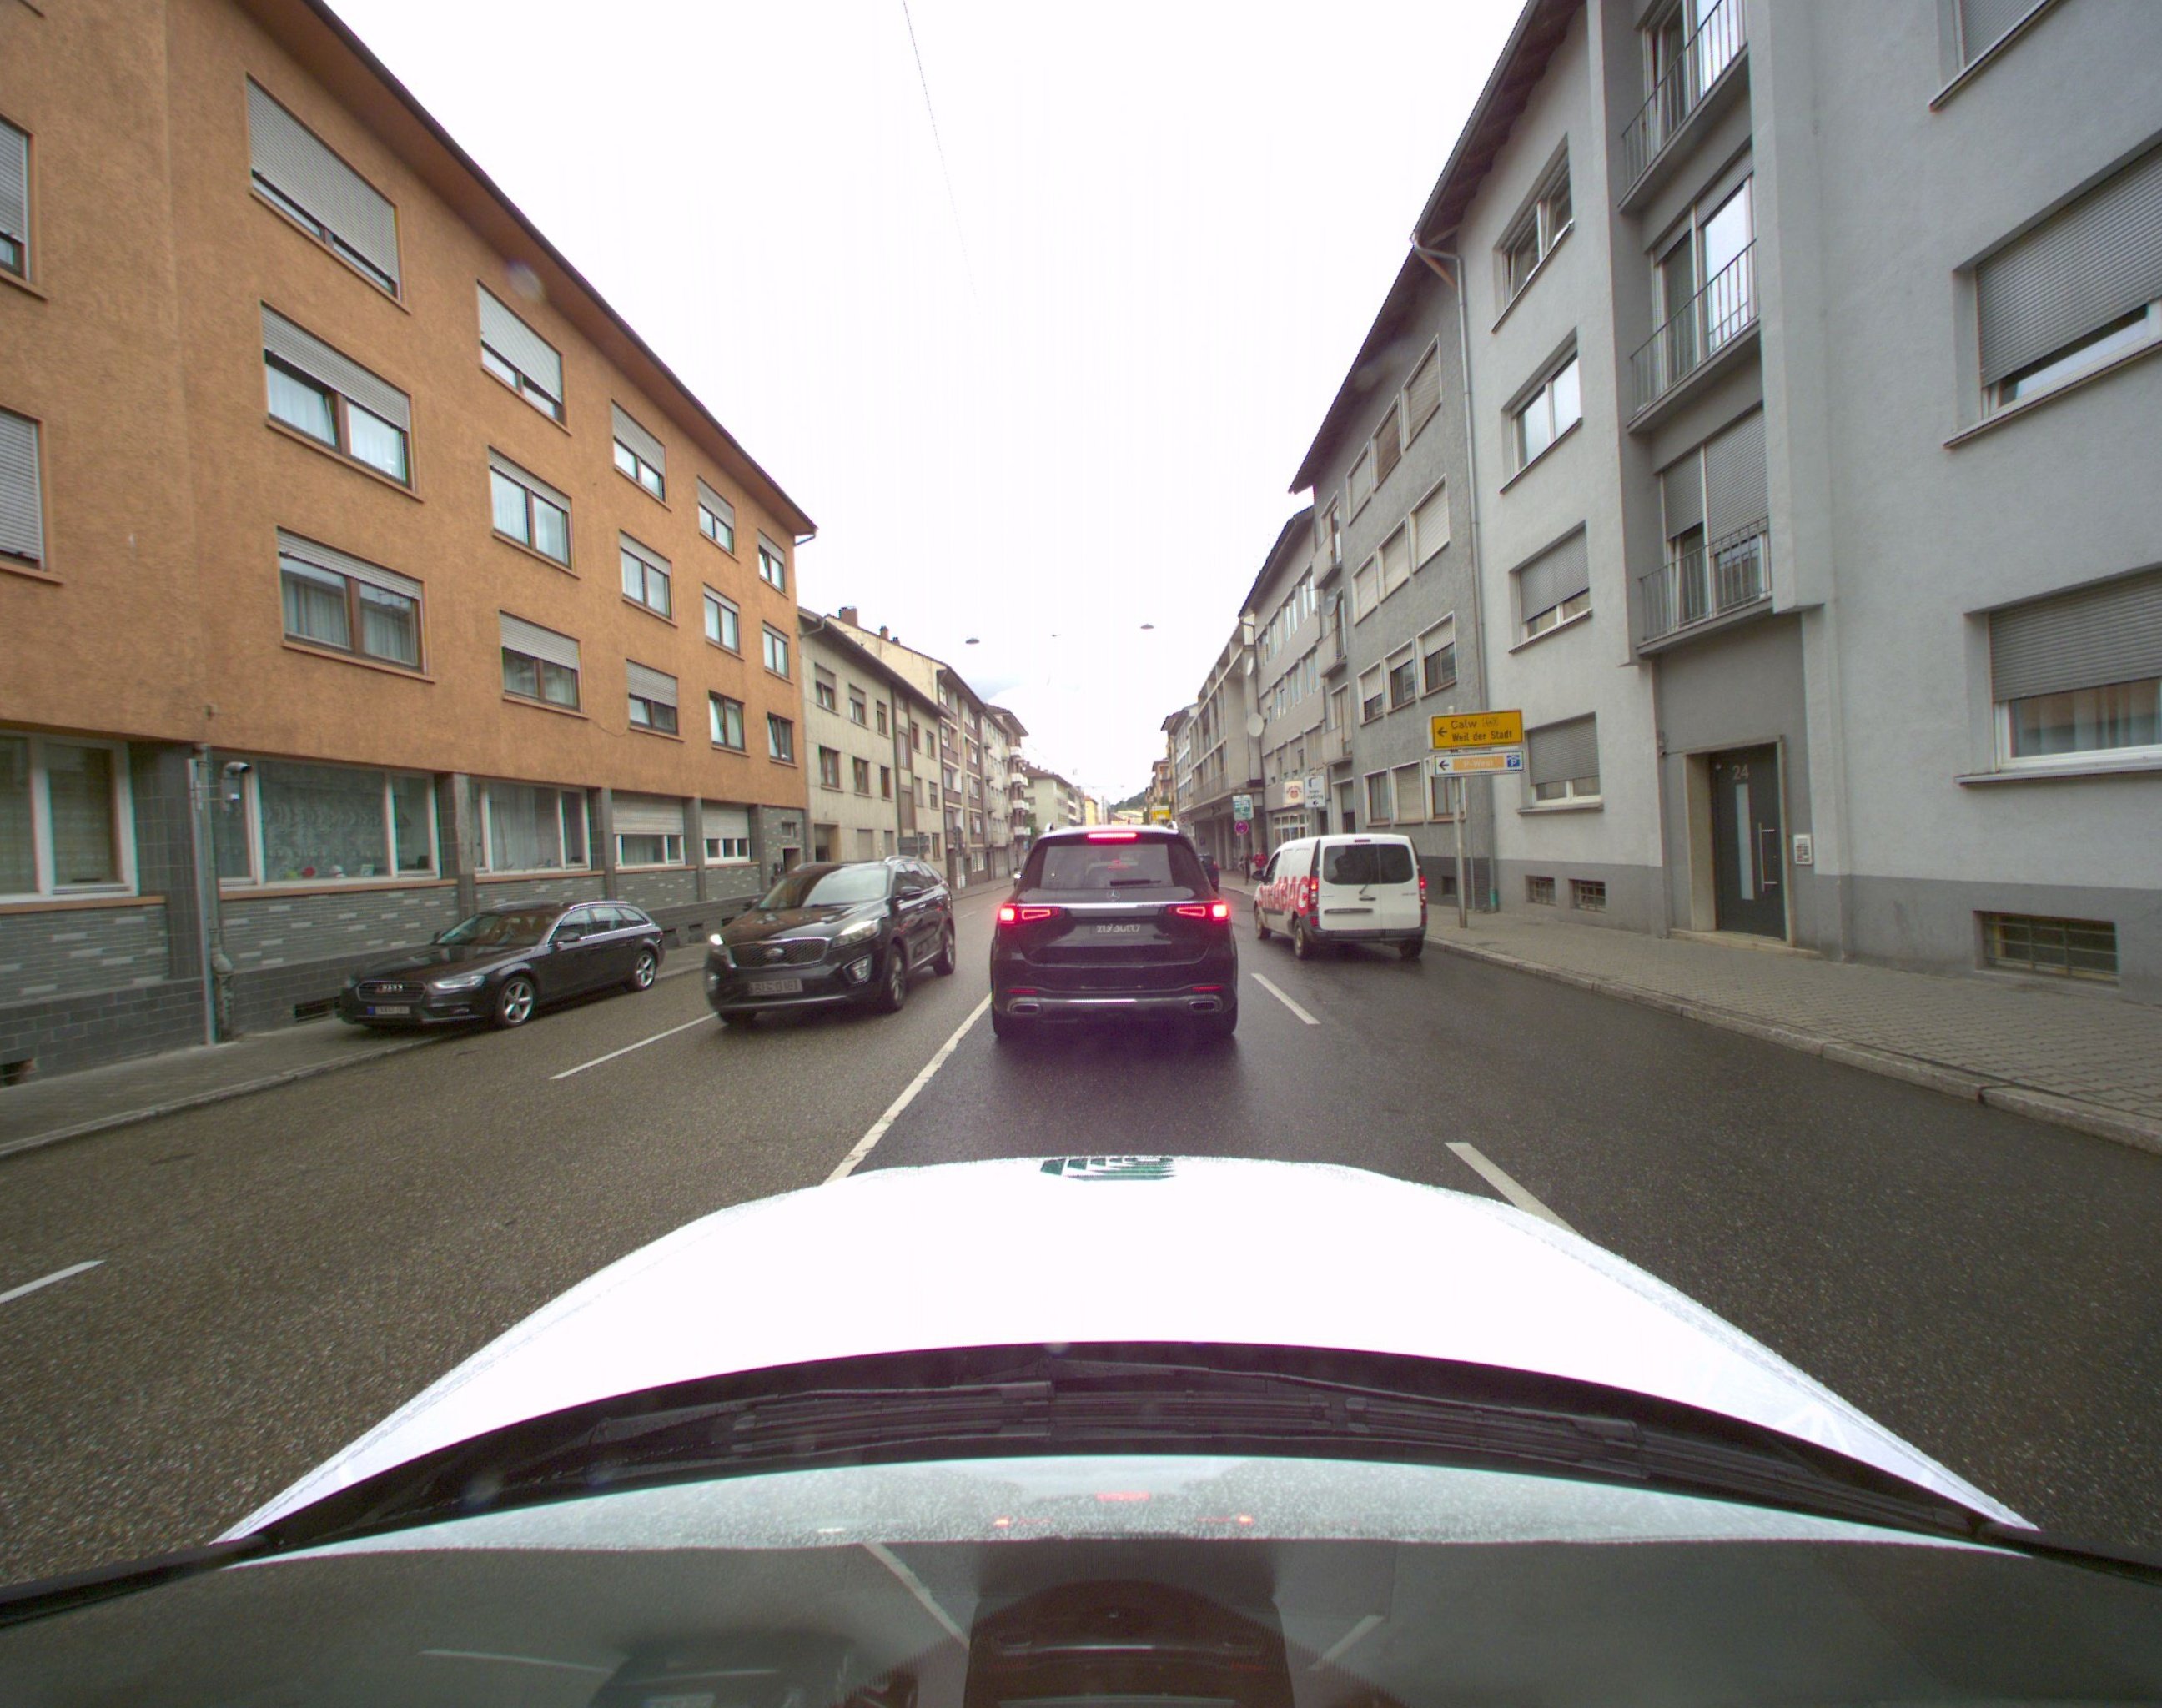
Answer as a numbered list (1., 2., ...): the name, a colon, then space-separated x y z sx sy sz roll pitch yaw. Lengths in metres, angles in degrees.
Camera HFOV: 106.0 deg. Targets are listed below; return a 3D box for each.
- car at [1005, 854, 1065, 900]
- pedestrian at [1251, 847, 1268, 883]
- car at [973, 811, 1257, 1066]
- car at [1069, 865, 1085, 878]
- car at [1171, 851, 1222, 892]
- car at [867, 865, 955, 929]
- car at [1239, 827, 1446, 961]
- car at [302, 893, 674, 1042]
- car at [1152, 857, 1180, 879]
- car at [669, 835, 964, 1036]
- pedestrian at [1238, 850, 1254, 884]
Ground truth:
1. car: -1.951 0.965 35.917 2.119 1.721 4.819 -5 0 1
2. pedestrian: 8.191 0.493 37.321 0.557 1.578 0.527 -5 0 5
3. car: 0.287 0.609 7.804 2.018 1.806 4.001 0 0 1
4. car: -0.510 2.047 98.035 1.762 1.346 3.887 -6 0 0
5. car: 4.847 0.709 34.723 1.800 1.606 4.216 -1 0 4
6. car: -4.992 1.204 24.484 1.793 1.584 4.312 -5 0 -2
7. car: 3.994 0.550 13.378 1.933 1.775 4.747 -1 0 1
8. car: -7.741 1.377 11.340 1.789 1.438 4.528 0 0 1
9. car: 5.793 0.938 55.918 1.615 1.430 4.313 0 0 1
10. car: -2.803 0.771 9.875 1.829 1.727 4.476 -5 0 2
11. pedestrian: 7.507 0.599 37.128 0.504 1.500 0.562 -5 0 1
